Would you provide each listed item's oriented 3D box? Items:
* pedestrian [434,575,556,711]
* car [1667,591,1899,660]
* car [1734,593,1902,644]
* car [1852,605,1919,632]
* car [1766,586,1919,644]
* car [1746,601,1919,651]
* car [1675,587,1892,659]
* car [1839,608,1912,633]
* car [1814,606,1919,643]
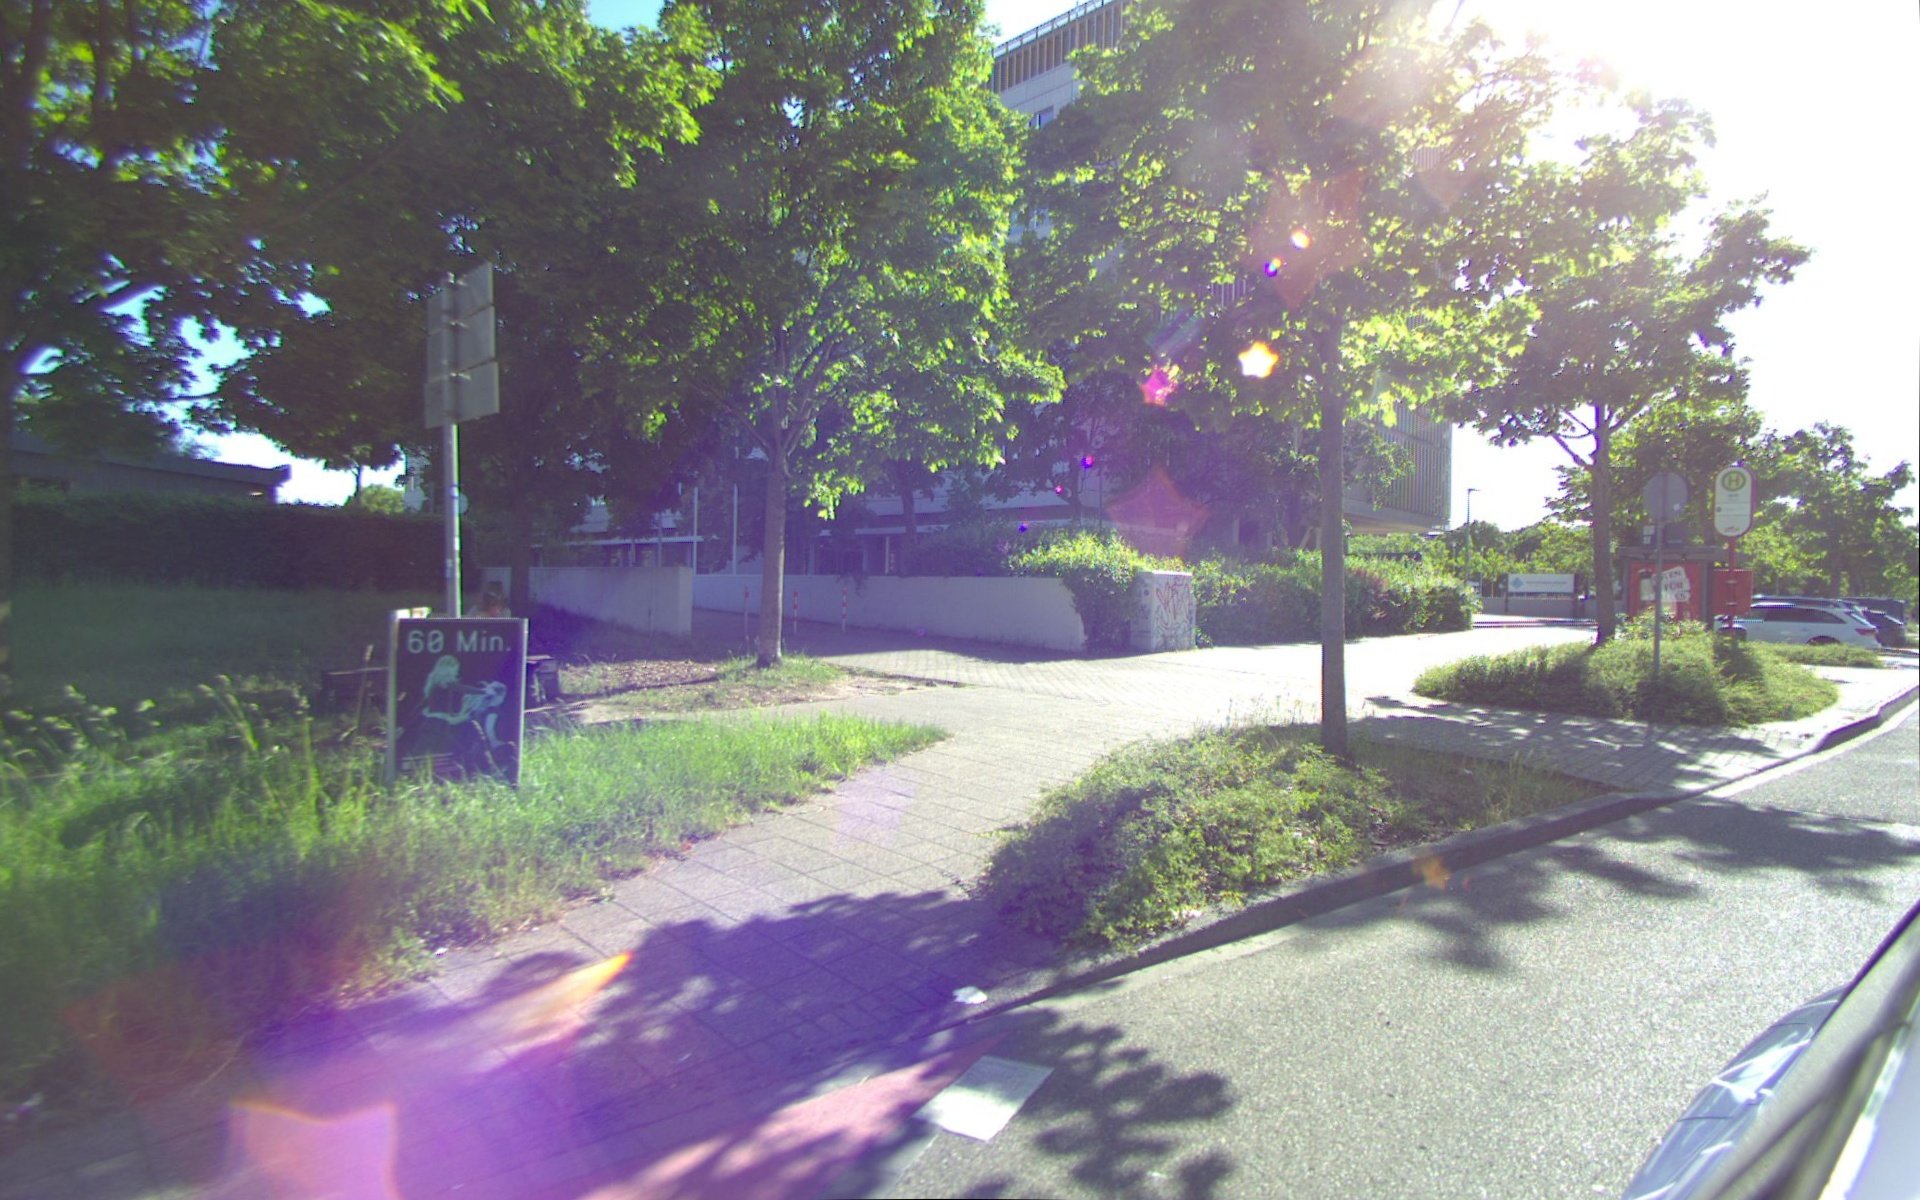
[{"bbox_3d":[-4.562,0.394,9.933,0.841,1.232,0.720,3,1,32],"label":"pedestrian"},{"bbox_3d":[20.813,0.587,25.724,1.865,1.481,4.405,1,1,-45],"label":"car"},{"bbox_3d":[30.544,0.620,36.120,4.405,1.577,2.041,3,1,45],"label":"car"},{"bbox_3d":[65.380,1.270,71.286,3.709,1.692,1.649,3,1,44],"label":"car"},{"bbox_3d":[33.227,0.516,37.985,4.405,1.916,2.041,3,1,45],"label":"car"},{"bbox_3d":[29.279,0.829,33.928,4.405,1.427,2.041,3,1,45],"label":"car"},{"bbox_3d":[22.378,0.565,27.614,4.405,1.661,2.041,3,1,45],"label":"car"},{"bbox_3d":[63.168,1.401,69.857,3.709,1.544,1.649,3,1,44],"label":"car"},{"bbox_3d":[45.592,1.195,50.917,3.950,1.620,1.650,3,1,43],"label":"car"}]
